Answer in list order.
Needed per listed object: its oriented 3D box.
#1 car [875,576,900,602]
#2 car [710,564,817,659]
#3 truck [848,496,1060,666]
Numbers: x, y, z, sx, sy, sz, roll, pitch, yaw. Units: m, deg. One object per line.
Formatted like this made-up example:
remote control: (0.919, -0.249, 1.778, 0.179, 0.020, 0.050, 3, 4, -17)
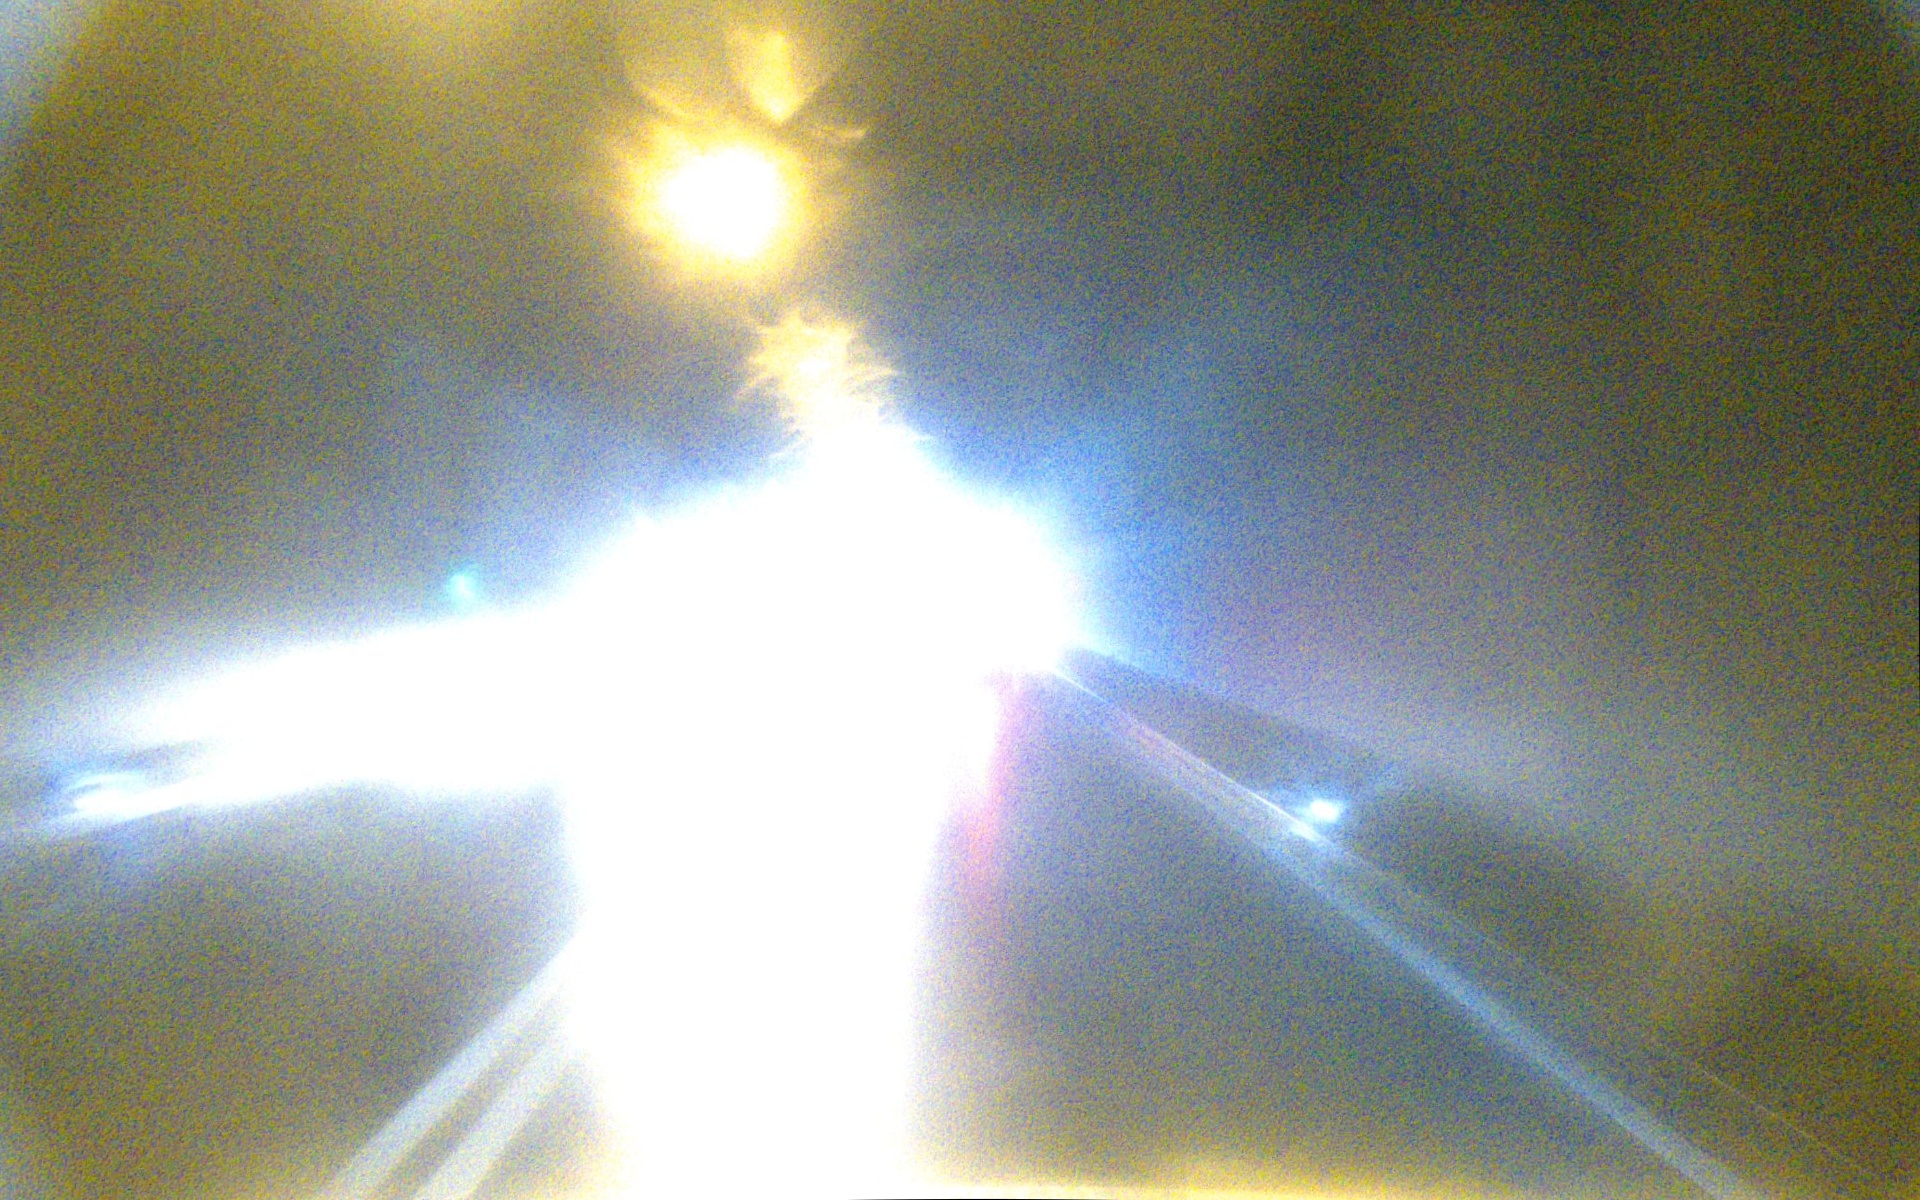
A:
car: (-4.912, -0.753, 112.390, 1.537, 1.660, 3.729, -2, 1, -1)
car: (-3.596, 0.177, 30.839, 1.566, 1.641, 3.995, -1, 1, -1)
truck: (-0.177, -0.360, 32.046, 3.463, 2.740, 8.954, -2, 1, -1)
